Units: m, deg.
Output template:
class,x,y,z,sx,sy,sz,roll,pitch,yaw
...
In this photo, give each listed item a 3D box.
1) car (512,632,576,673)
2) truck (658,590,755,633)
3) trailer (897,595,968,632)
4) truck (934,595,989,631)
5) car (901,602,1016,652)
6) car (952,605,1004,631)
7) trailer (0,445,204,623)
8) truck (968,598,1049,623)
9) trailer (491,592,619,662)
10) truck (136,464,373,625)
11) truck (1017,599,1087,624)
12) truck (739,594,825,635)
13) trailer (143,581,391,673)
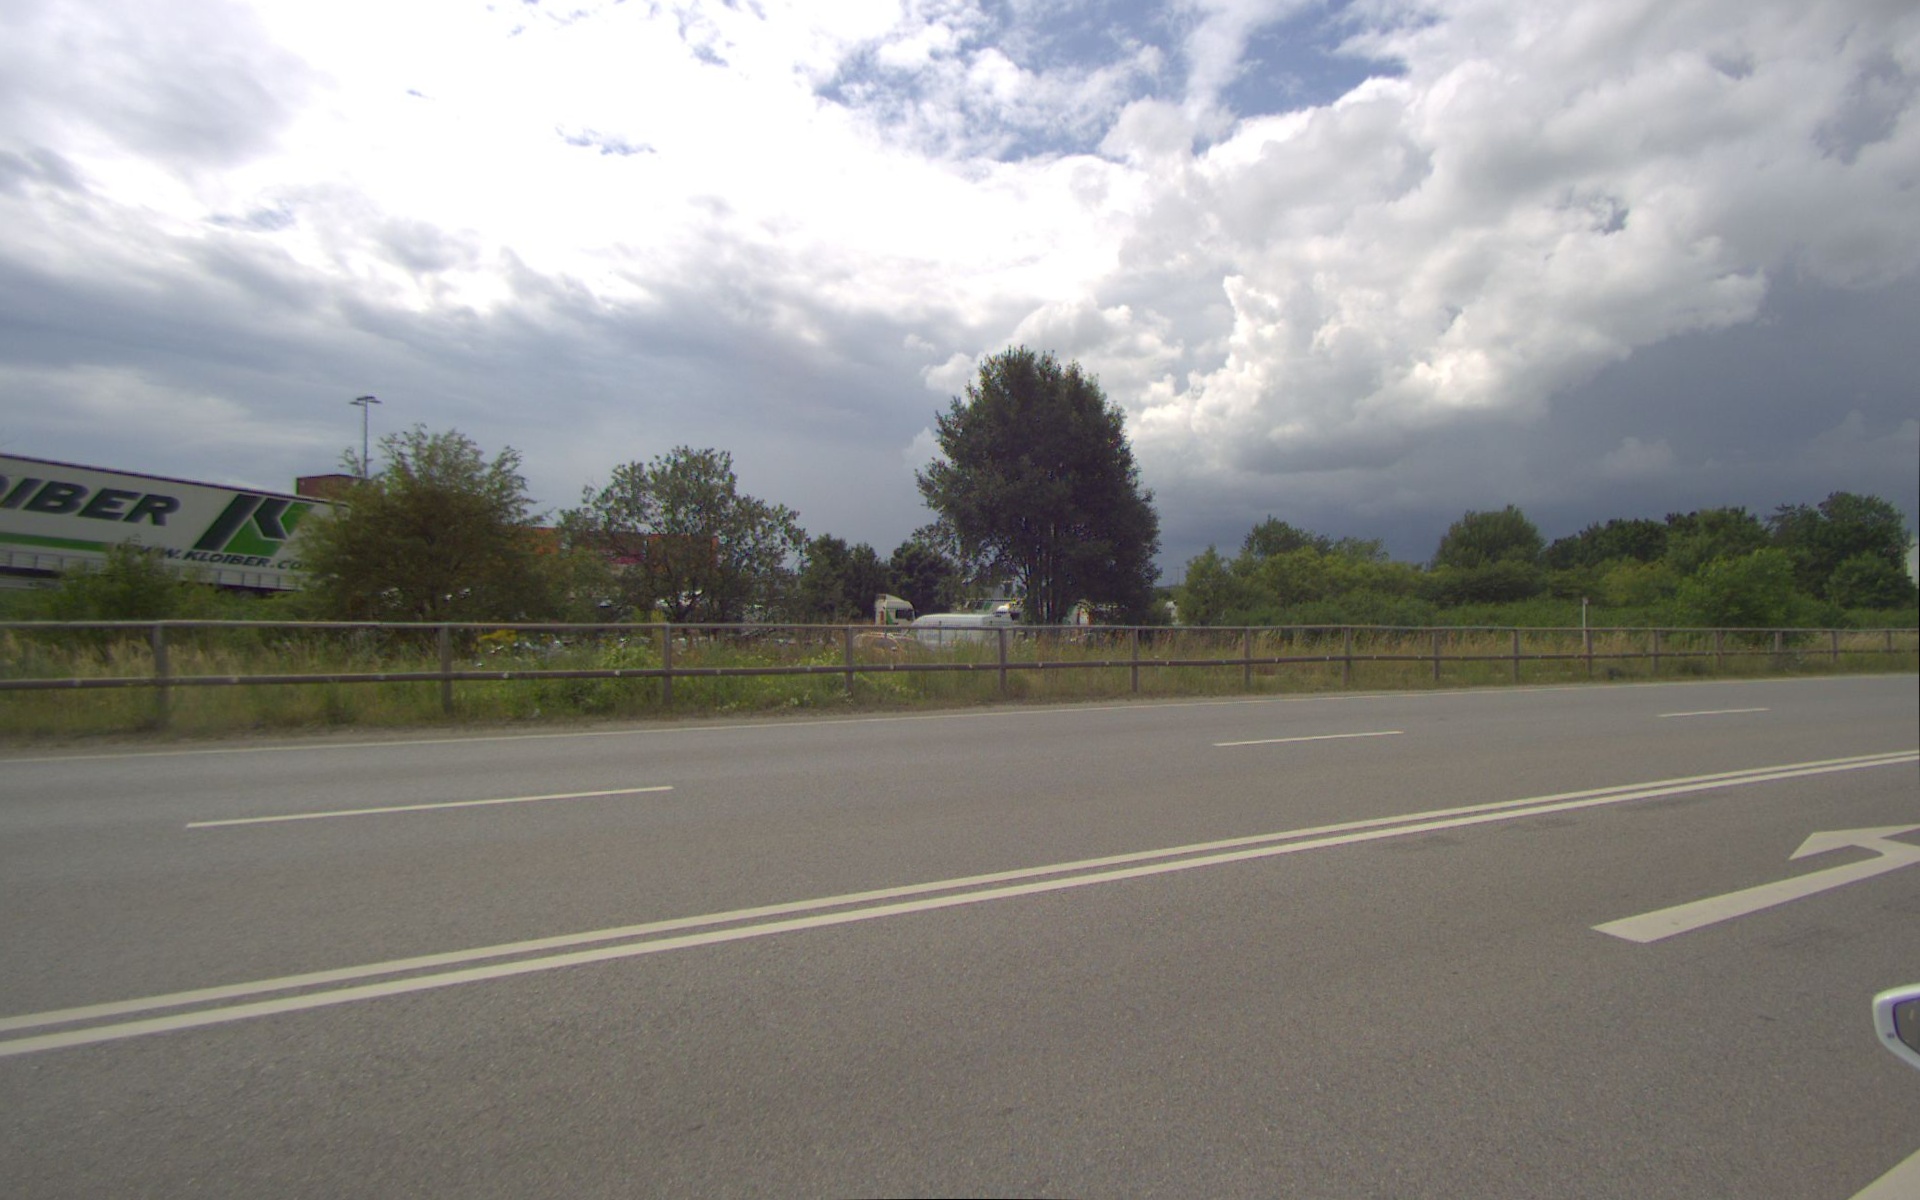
class,x,y,z,sx,sy,sz,roll,pitch,yaw
car,-20.075,2.476,48.366,1.828,1.742,3.955,1,0,-39
truck,-16.945,0.748,67.525,2.604,2.718,6.648,1,0,26
trailer,-2.040,1.022,75.620,5.007,2.695,1.985,1,0,-29
truck,0.106,1.018,76.826,3.685,2.713,1.985,1,0,-29
car,-0.093,1.036,40.500,4.521,1.758,1.988,2,1,44
car,1.517,1.548,85.256,3.953,2.040,1.984,2,0,-30
trailer,-28.170,-1.899,29.652,2.763,5.063,8.949,1,0,37
truck,4.381,0.909,90.492,7.027,2.040,1.990,2,0,-21
trailer,-26.869,1.701,67.249,2.155,4.350,9.377,0,0,21
truck,-24.271,-1.717,34.818,2.760,5.063,6.166,1,0,37
truck,8.459,1.041,92.058,6.138,2.040,1.990,2,0,-21
truck,-12.278,0.989,69.834,2.603,2.718,6.650,1,0,24
trailer,-35.586,1.343,52.004,10.315,4.350,3.206,1,0,-39
